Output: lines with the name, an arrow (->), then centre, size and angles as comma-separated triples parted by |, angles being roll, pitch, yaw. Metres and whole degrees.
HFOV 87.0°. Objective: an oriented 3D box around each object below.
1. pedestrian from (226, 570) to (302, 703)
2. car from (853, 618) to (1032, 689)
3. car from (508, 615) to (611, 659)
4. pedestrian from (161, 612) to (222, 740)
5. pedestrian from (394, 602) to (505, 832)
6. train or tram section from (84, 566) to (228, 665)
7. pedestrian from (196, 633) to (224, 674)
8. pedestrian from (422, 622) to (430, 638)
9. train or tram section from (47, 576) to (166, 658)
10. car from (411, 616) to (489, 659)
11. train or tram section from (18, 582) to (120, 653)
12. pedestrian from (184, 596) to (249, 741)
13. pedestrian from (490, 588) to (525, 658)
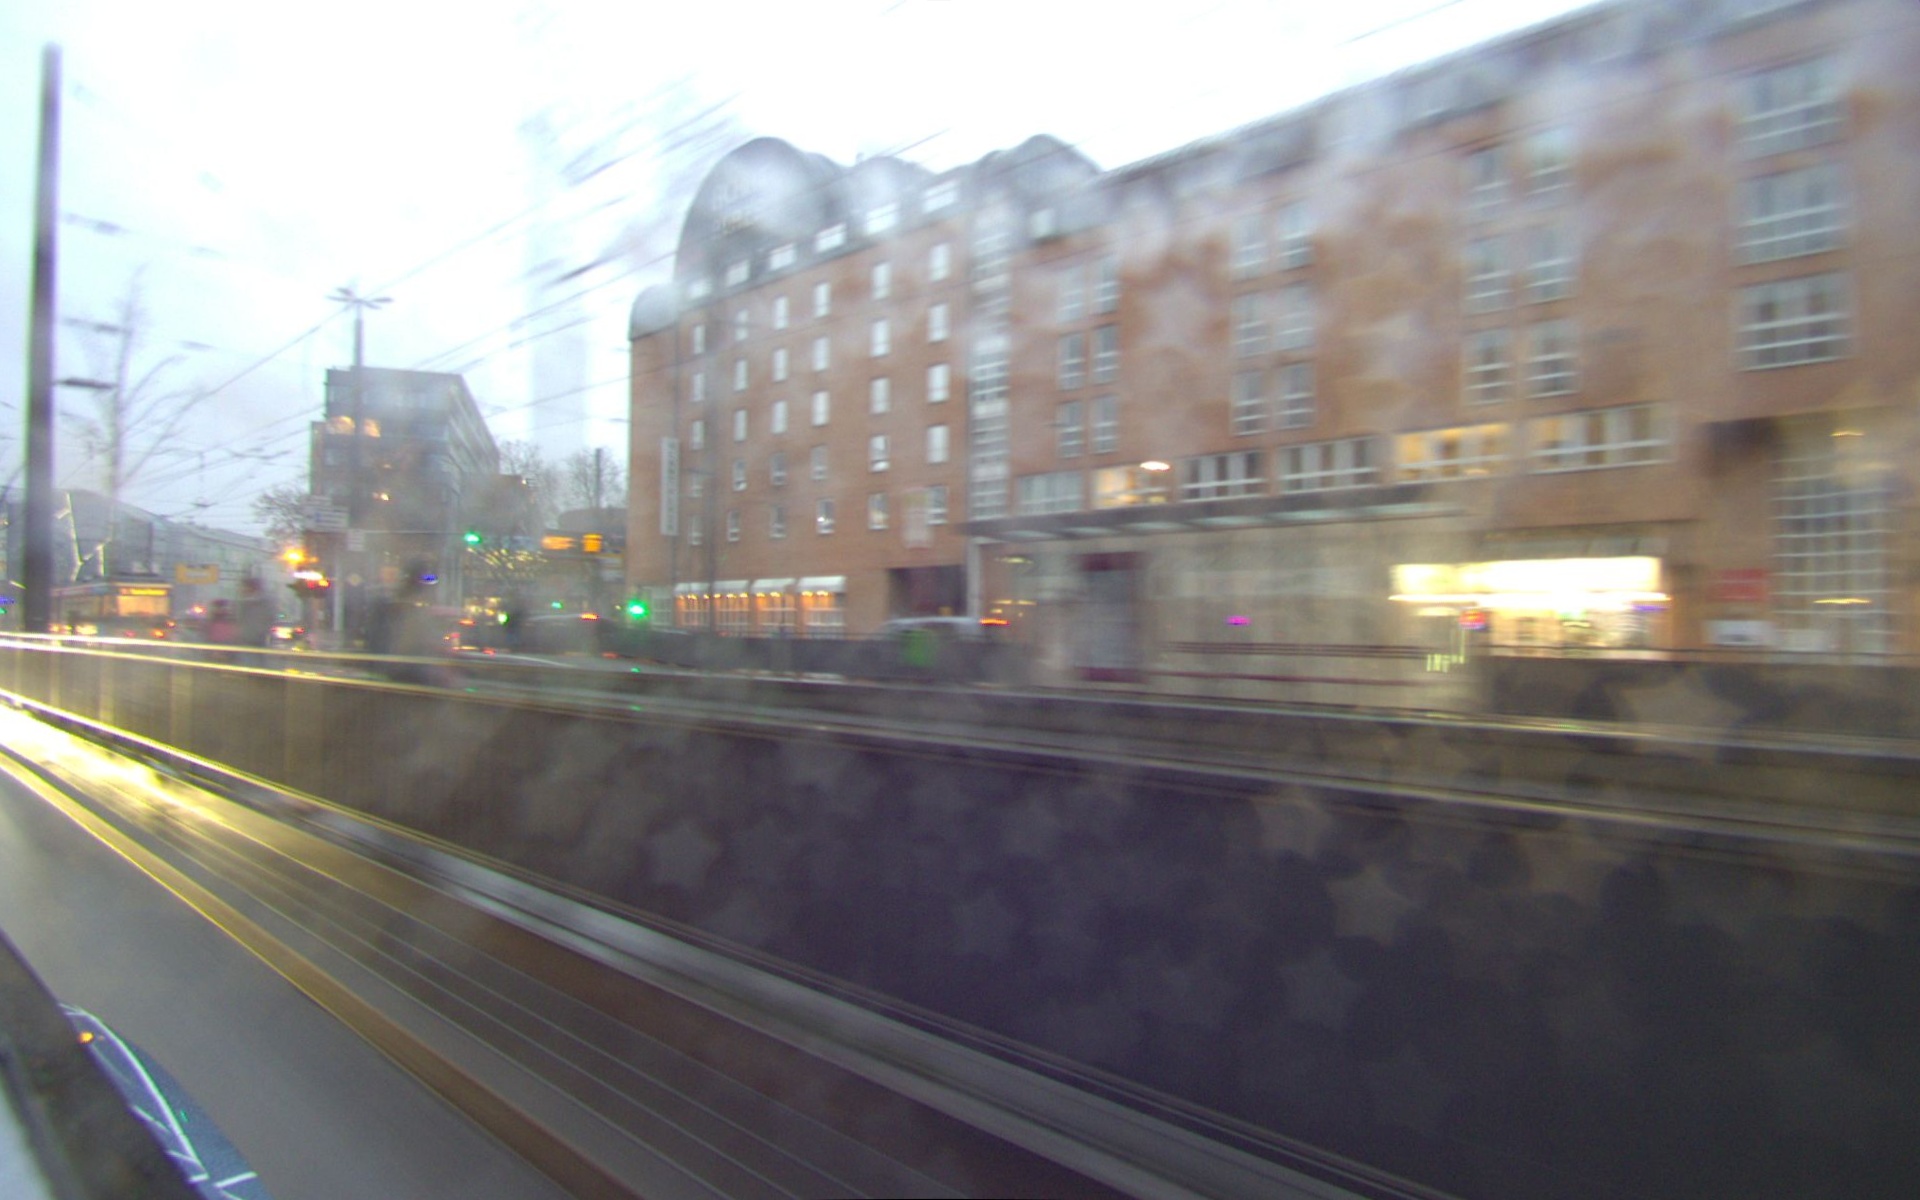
pedestrian -> -8.676, 0.452, 12.620 | 0.621, 1.602, 0.612 | -1, -2, 39
car -> -0.412, 1.085, 21.683 | 3.543, 1.364, 1.801 | -1, -1, 40
car -> -13.069, 1.175, 32.978 | 3.543, 1.364, 1.664 | -1, -1, 40
pedestrian -> -9.889, 0.963, 13.031 | 0.563, 1.602, 0.476 | -1, -2, 39
pedestrian -> -3.994, 0.873, 7.925 | 0.643, 1.705, 0.534 | -1, -2, 39
train or tram section -> -33.363, 0.649, 41.767 | 11.031, 3.595, 2.869 | -1, -1, 42
pedestrian -> -21.709, 1.544, 29.289 | 0.490, 1.161, 0.573 | -1, -1, 43
pedestrian -> -57.995, 3.262, 109.853 | 0.715, 1.721, 0.696 | 2, -3, -30
train or tram section -> -41.583, 0.819, 49.132 | 11.031, 3.605, 2.894 | -1, -1, 42
car -> -19.360, 1.393, 38.375 | 3.323, 1.528, 1.502 | -1, -1, 40
train or tram section -> -50.256, 1.001, 56.914 | 12.251, 3.616, 2.919 | -1, -1, 42
pedestrian -> -8.987, 0.810, 12.235 | 0.563, 1.691, 0.476 | -1, -2, 39
pedestrian -> -12.449, 0.629, 27.825 | 0.781, 1.901, 0.886 | 1, -2, -30
